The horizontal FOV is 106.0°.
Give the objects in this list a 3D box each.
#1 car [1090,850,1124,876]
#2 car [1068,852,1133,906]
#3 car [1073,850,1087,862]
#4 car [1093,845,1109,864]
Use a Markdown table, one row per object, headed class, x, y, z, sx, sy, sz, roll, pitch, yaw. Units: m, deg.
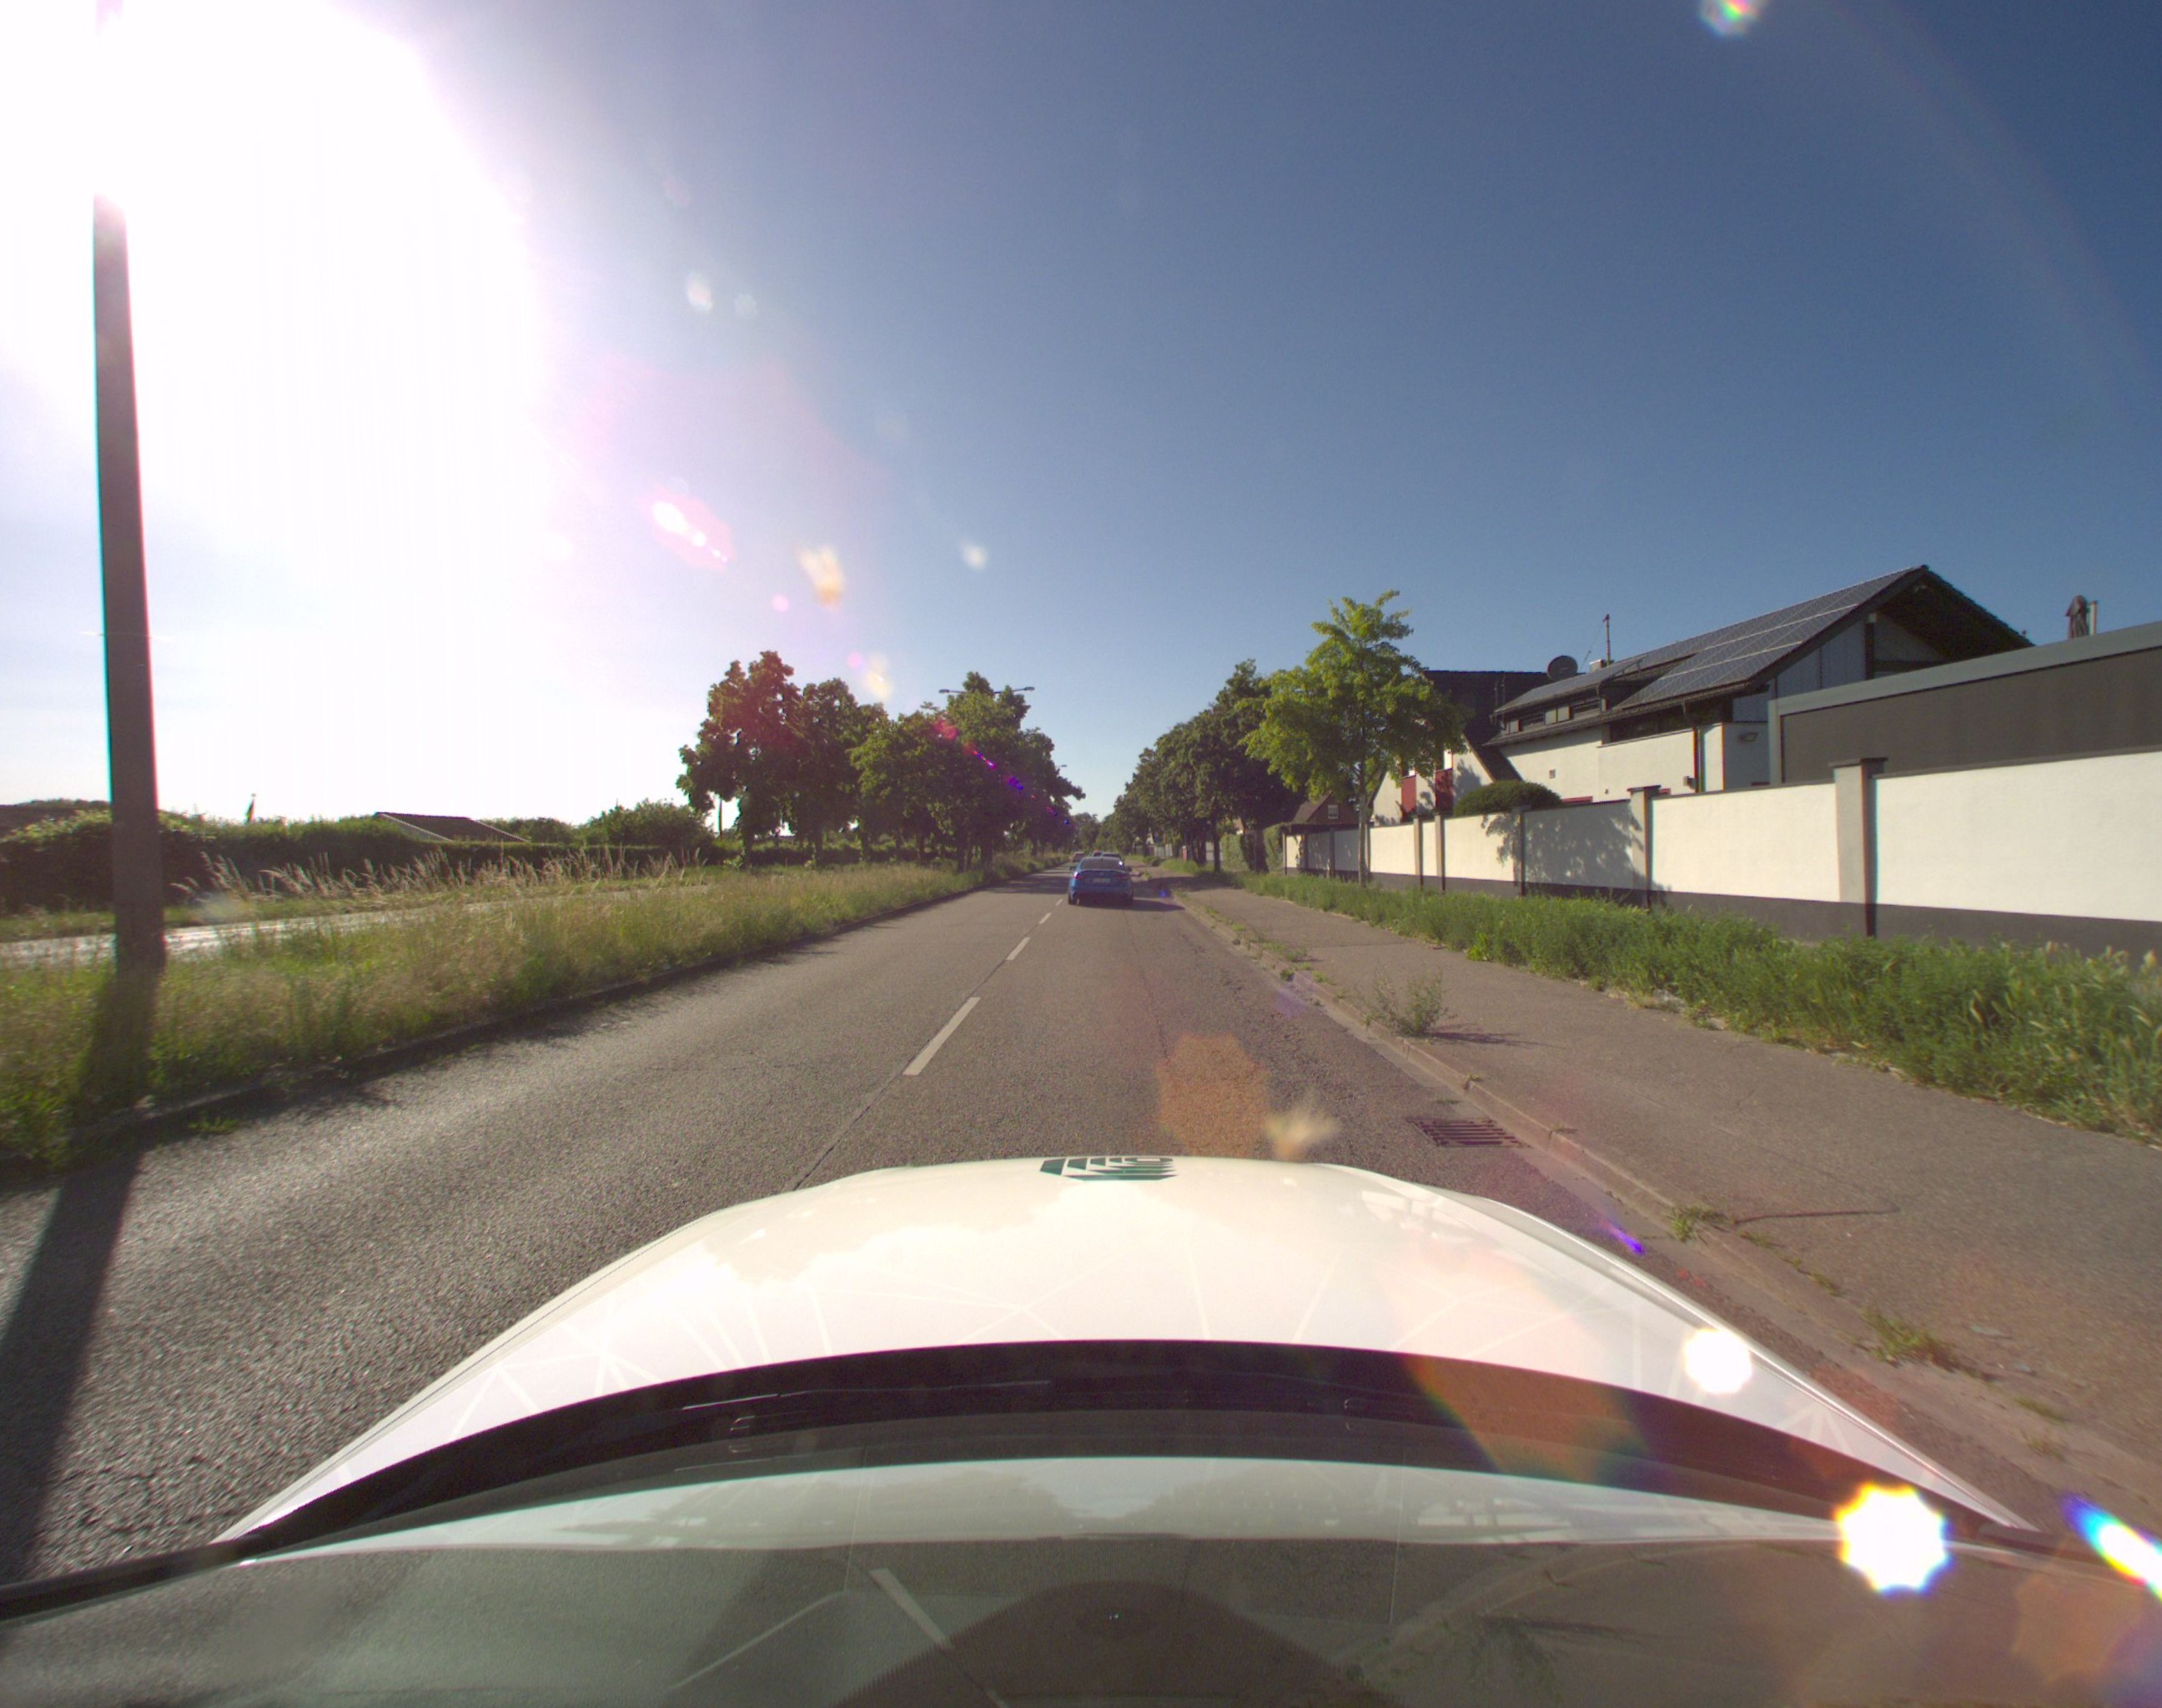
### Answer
| class | x | y | z | sx | sy | sz | roll | pitch | yaw |
| --- | --- | --- | --- | --- | --- | --- | --- | --- | --- |
| car | 1.677 | 0.600 | 54.115 | 1.911 | 1.579 | 4.178 | -2 | 0 | -3 |
| car | 0.621 | 0.688 | 24.970 | 1.831 | 1.474 | 4.186 | 0 | 1 | 2 |
| car | -0.164 | 0.291 | 109.668 | 1.909 | 1.512 | 4.066 | -1 | 0 | -1 |
| car | 2.202 | 0.062 | 91.273 | 1.786 | 2.014 | 4.001 | 0 | 0 | 1 |
